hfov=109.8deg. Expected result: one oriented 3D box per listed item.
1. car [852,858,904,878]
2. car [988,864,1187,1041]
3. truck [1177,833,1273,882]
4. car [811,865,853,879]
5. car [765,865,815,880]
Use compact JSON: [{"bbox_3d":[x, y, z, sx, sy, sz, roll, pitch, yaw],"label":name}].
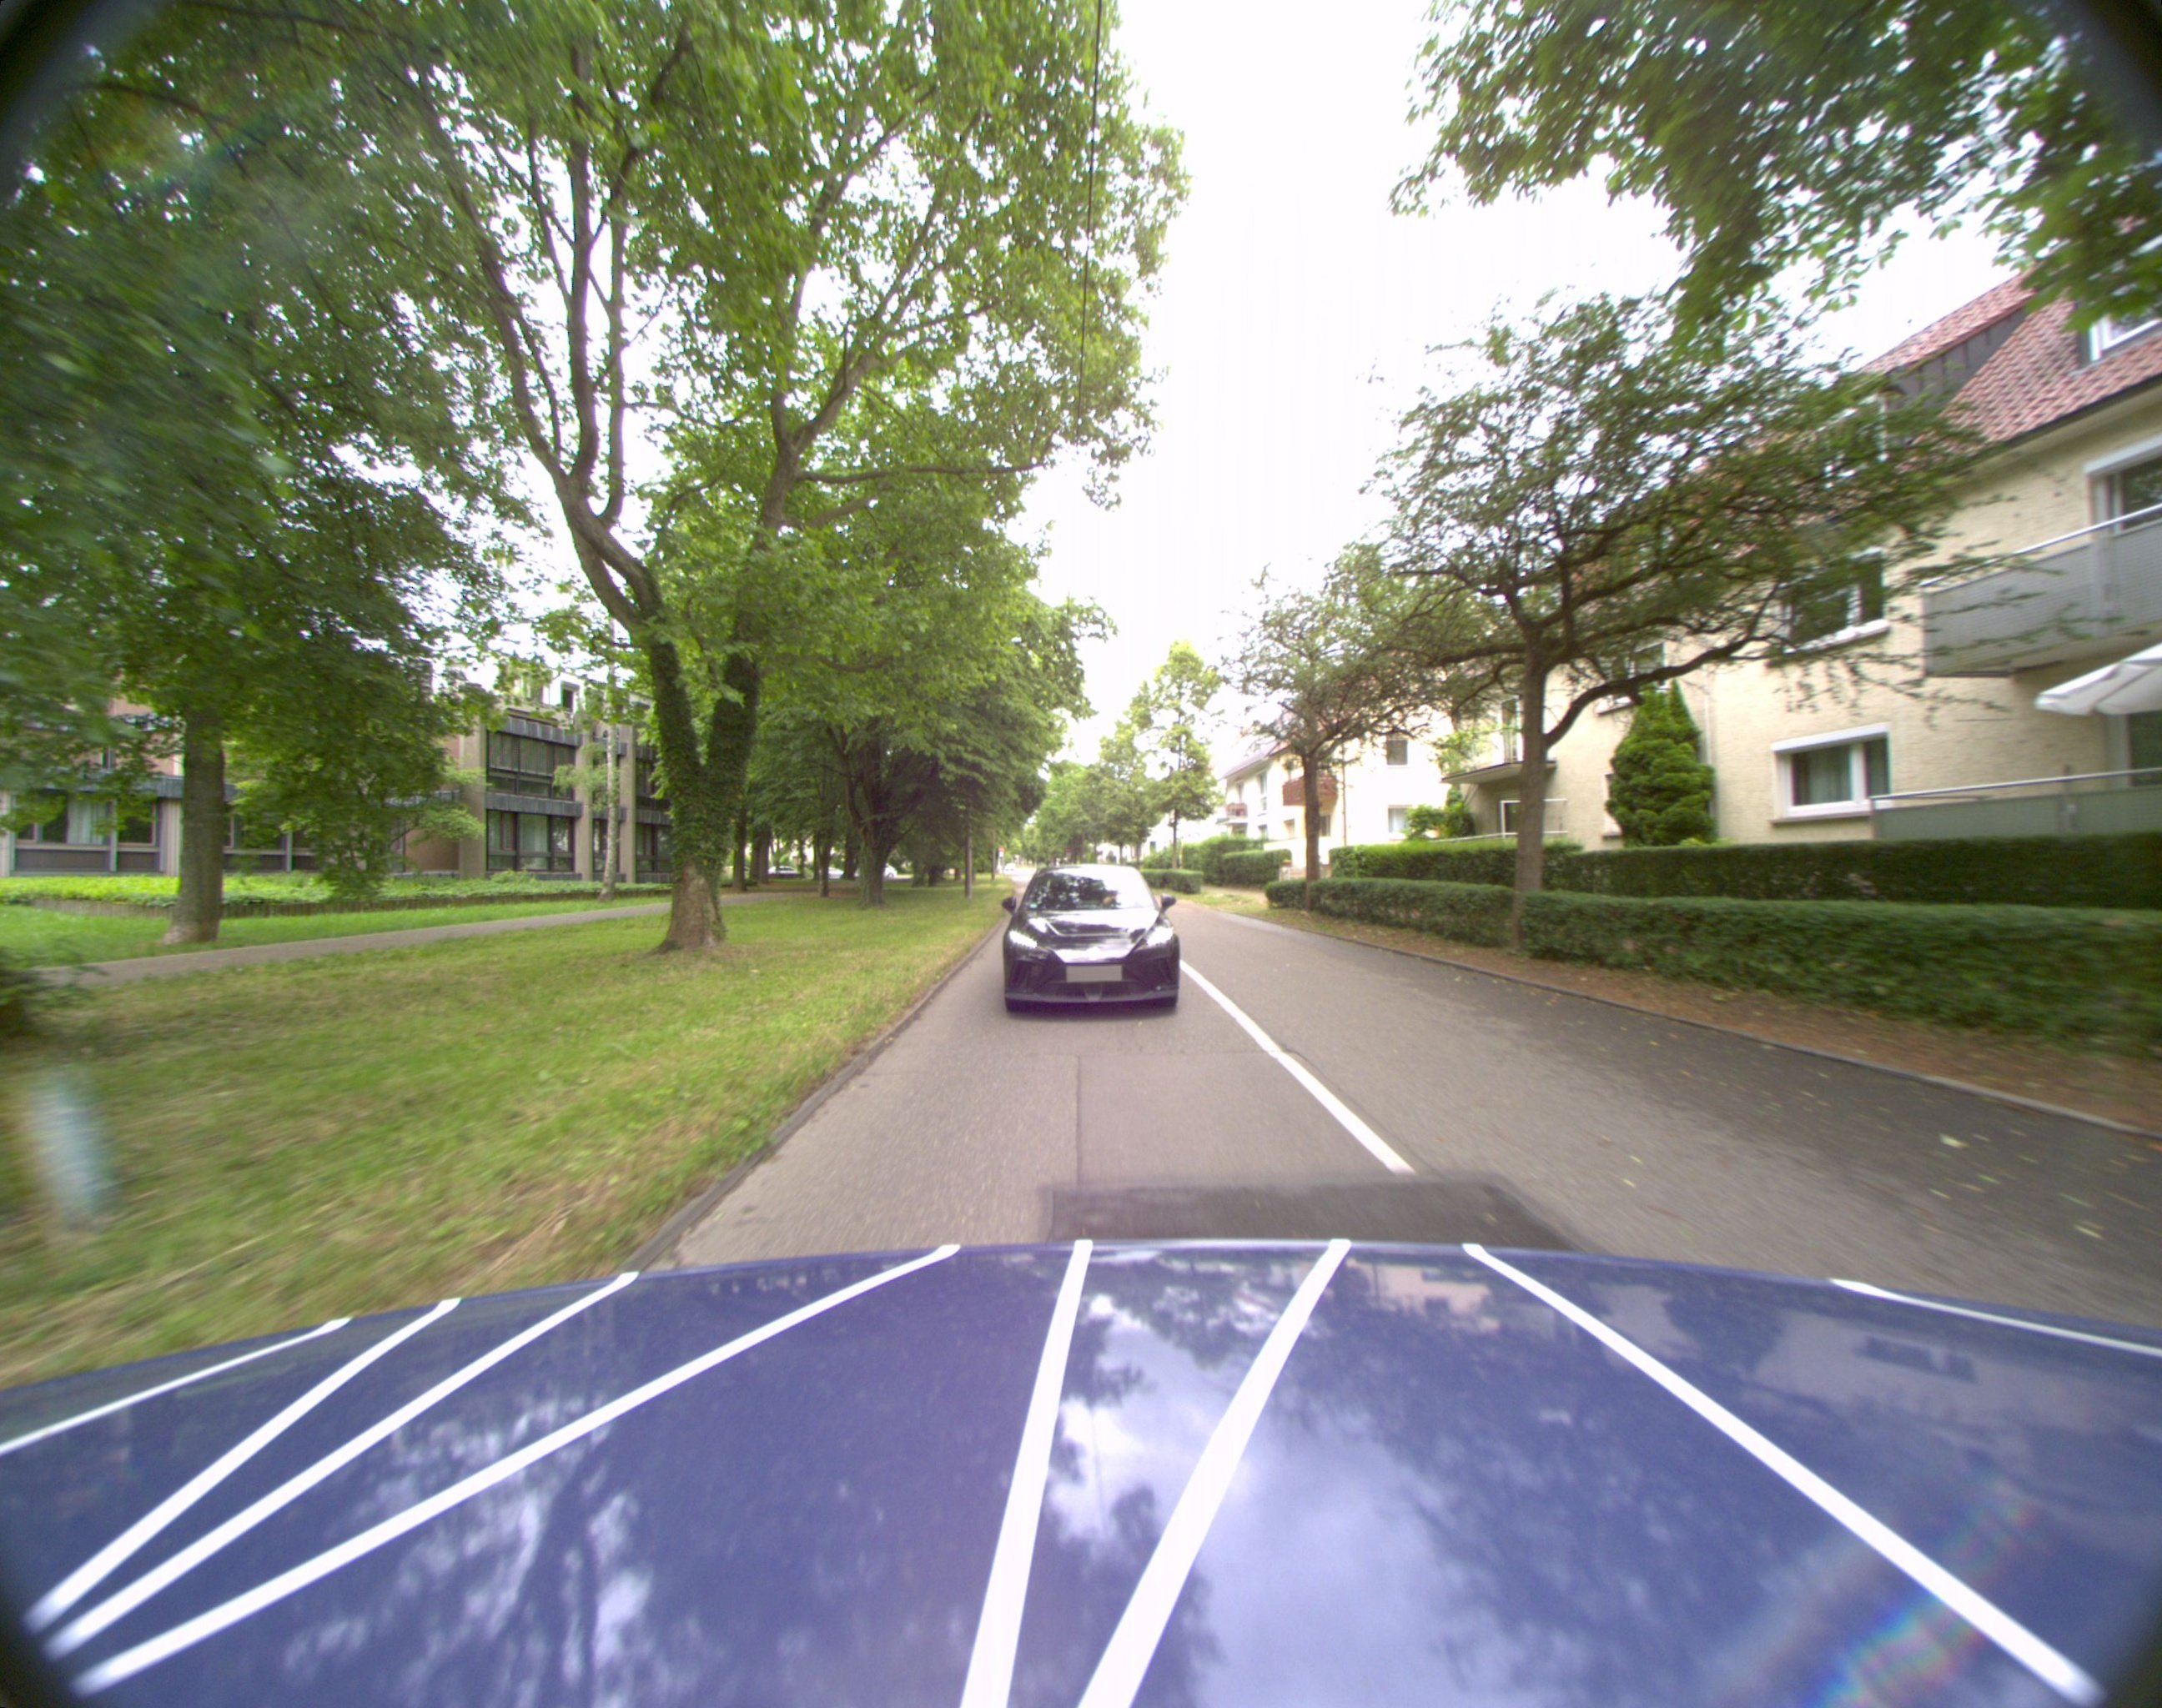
[{"bbox_3d":[-23.479,1.600,87.811,5.337,2.285,2.286,0,-1,-38],"label":"car"},{"bbox_3d":[0.082,0.943,9.287,1.799,1.552,4.471,-2,0,1],"label":"car"},{"bbox_3d":[9.651,0.243,51.143,5.814,3.112,2.517,-1,0,-6],"label":"truck"},{"bbox_3d":[-27.500,1.991,83.873,4.009,1.501,1.795,0,-1,-45],"label":"car"},{"bbox_3d":[-30.685,1.959,80.279,1.795,1.501,4.614,-2,-1,39],"label":"car"}]
